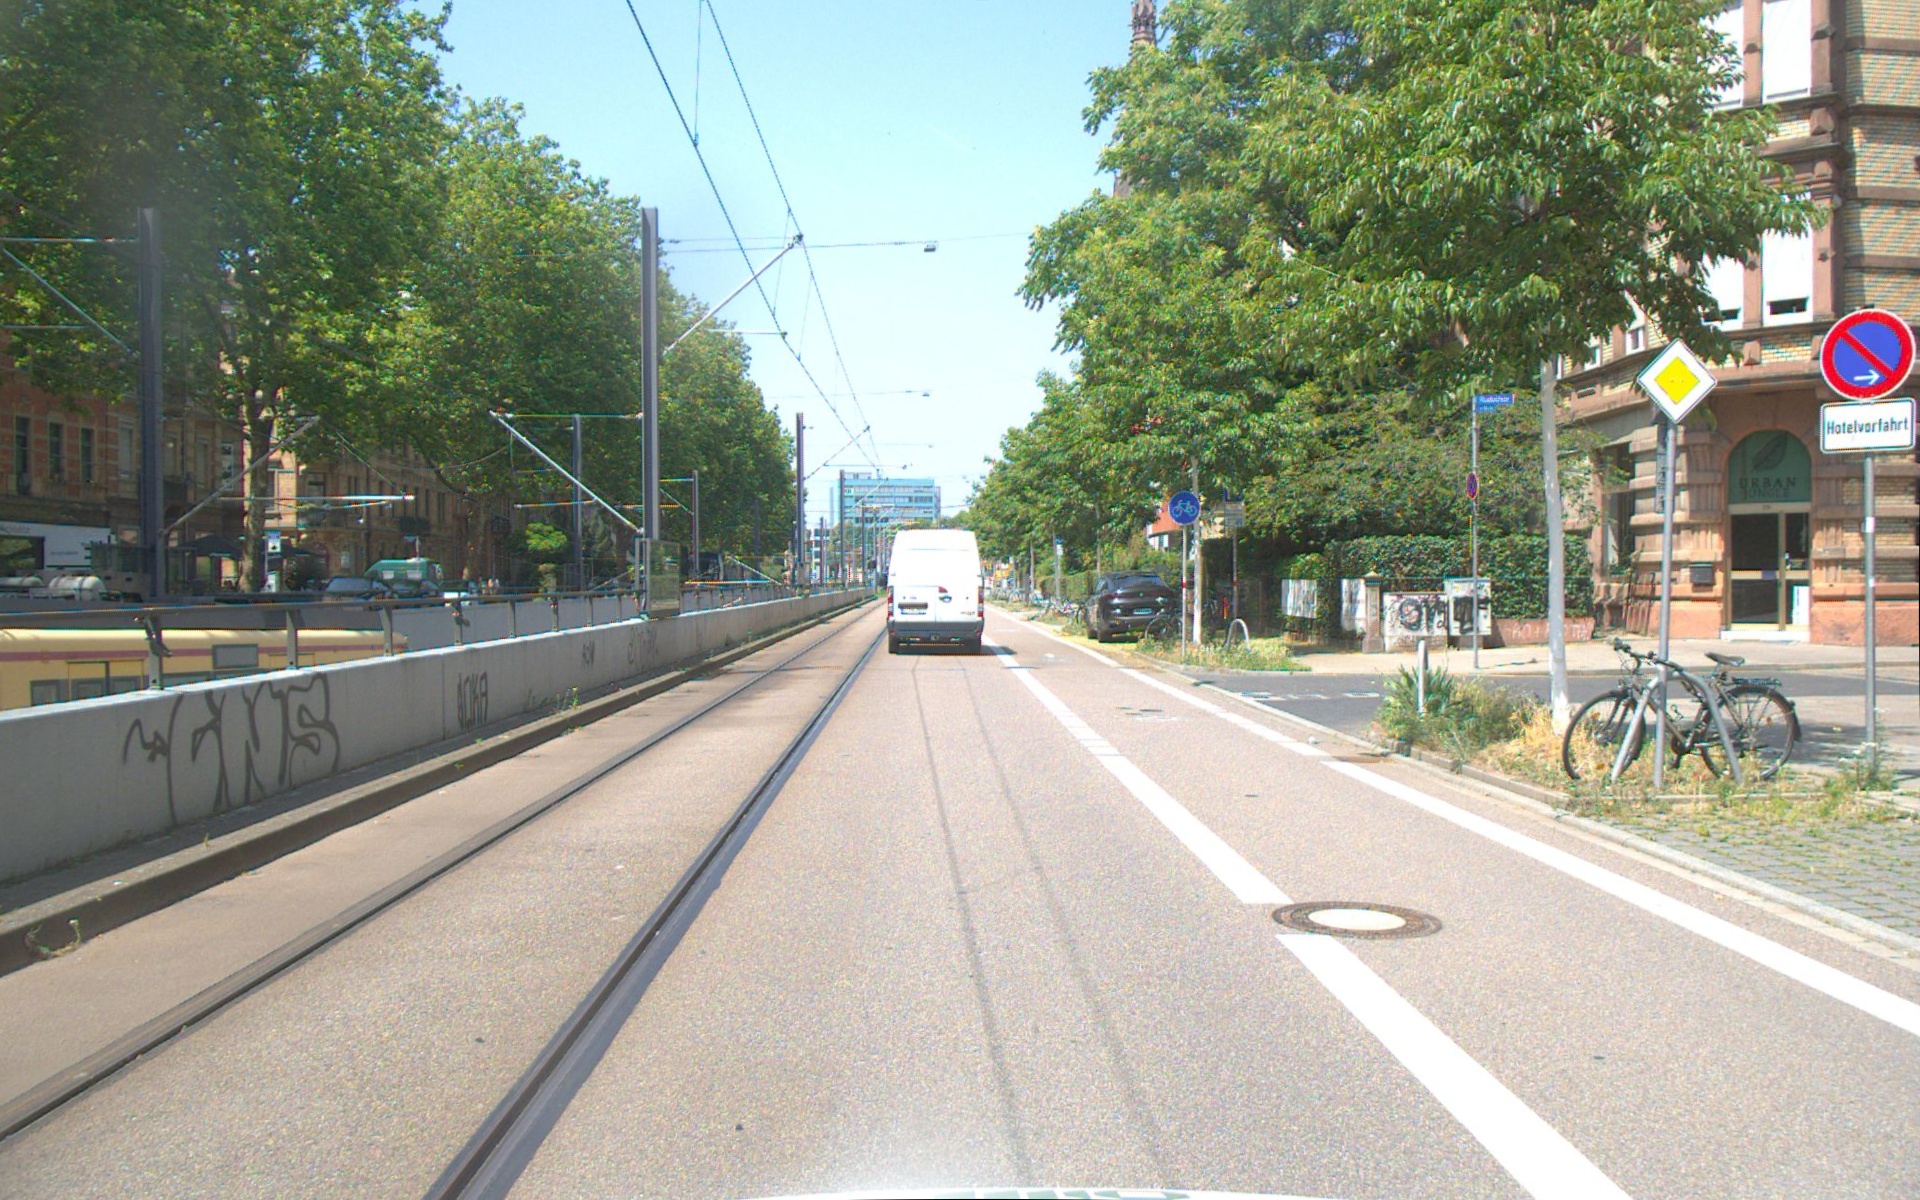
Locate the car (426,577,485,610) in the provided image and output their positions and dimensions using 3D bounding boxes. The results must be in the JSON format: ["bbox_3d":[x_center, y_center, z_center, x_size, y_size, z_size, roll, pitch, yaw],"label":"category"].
[{"bbox_3d":[-26.364,-0.359,86.588,1.953,1.713,3.999,0,1,-2],"label":"car"}]

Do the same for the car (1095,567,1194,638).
[{"bbox_3d":[4.575,0.037,41.567,2.112,1.699,4.001,0,1,1],"label":"car"}]

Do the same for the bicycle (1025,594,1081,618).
[{"bbox_3d":[3.485,0.217,61.698,1.526,0.841,4.004,0,1,11],"label":"bicycle"}]

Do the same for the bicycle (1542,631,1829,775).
[{"bbox_3d":[5.098,0.716,11.673,1.804,0.970,0.503,0,1,0],"label":"bicycle"}]

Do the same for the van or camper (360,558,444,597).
[{"bbox_3d":[-30.050,-1.202,89.146,3.908,2.049,1.999,0,1,-4],"label":"van or camper"}]

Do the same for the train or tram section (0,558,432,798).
[{"bbox_3d":[-10.127,1.050,22.677,2.674,2.553,10.084,0,-3,-1],"label":"train or tram section"}]

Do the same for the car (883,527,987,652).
[{"bbox_3d":[-0.599,-0.238,35.866,2.074,2.502,5.052,0,1,-2],"label":"car"}]

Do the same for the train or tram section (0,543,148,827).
[{"bbox_3d":[-9.939,0.702,13.339,2.674,2.553,8.487,0,-2,-1],"label":"train or tram section"}]

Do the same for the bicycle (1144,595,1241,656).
[{"bbox_3d":[4.668,0.508,33.244,1.850,1.202,0.640,0,0,-3],"label":"bicycle"}]
